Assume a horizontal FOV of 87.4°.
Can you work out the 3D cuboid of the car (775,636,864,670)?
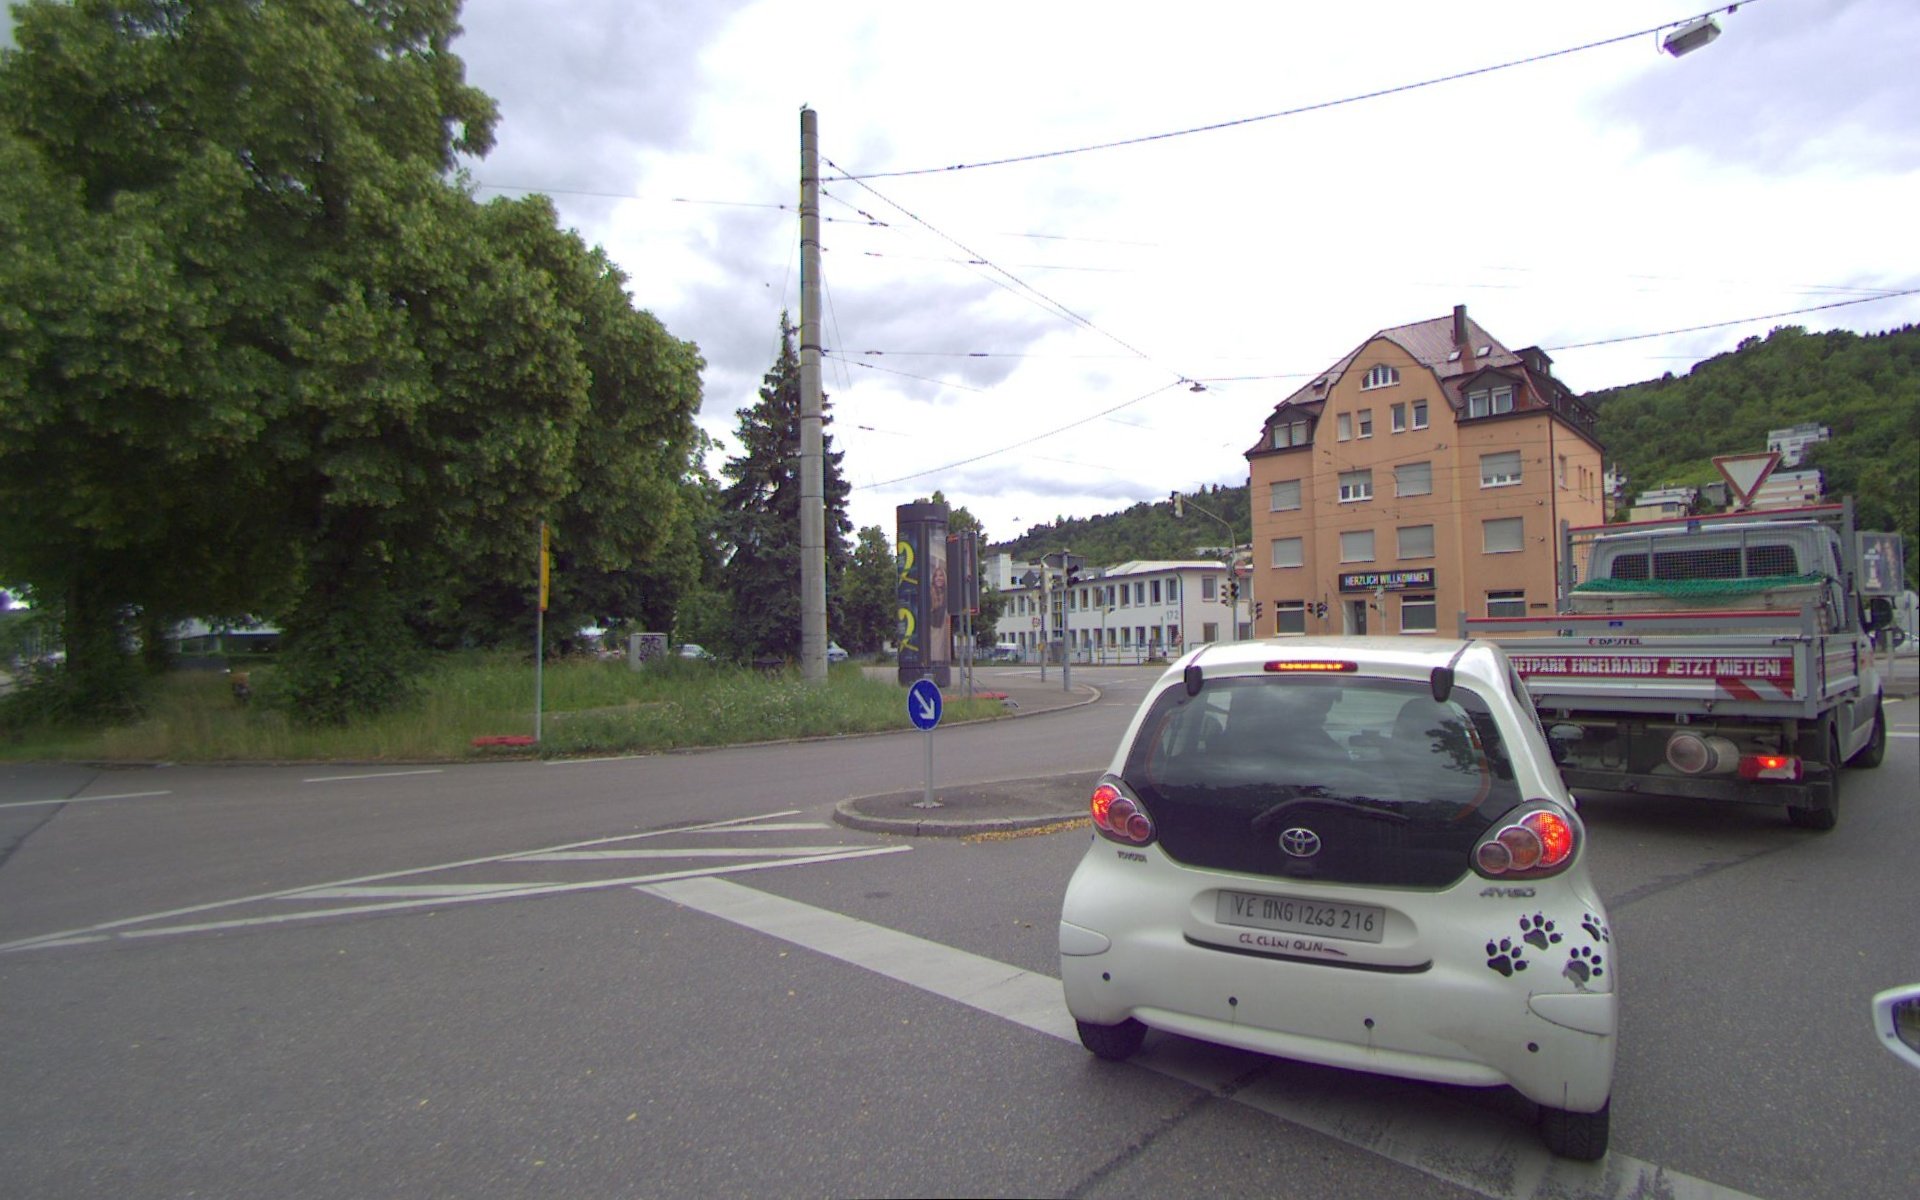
[{"bbox_3d":[-6.241,2.360,44.205,1.790,1.385,4.422,0,-3,-40],"label":"car"}]

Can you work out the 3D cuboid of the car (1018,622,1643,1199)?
[{"bbox_3d":[1.726,0.869,4.324,1.615,1.451,3.426,-3,-3,28],"label":"car"}]

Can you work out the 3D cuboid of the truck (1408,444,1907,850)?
[{"bbox_3d":[6.501,0.375,8.959,5.986,2.429,2.399,1,-4,-43],"label":"truck"}]

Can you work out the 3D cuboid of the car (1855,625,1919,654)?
[{"bbox_3d":[52.926,2.210,56.157,1.764,1.553,4.162,1,-3,-44],"label":"car"}]

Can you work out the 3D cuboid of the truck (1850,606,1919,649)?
[{"bbox_3d":[55.318,1.567,58.310,5.112,2.424,1.995,-3,-3,33],"label":"truck"}]

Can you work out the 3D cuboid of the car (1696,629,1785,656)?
[{"bbox_3d":[47.563,2.587,61.268,4.153,1.553,1.768,-3,-3,39],"label":"car"}]
